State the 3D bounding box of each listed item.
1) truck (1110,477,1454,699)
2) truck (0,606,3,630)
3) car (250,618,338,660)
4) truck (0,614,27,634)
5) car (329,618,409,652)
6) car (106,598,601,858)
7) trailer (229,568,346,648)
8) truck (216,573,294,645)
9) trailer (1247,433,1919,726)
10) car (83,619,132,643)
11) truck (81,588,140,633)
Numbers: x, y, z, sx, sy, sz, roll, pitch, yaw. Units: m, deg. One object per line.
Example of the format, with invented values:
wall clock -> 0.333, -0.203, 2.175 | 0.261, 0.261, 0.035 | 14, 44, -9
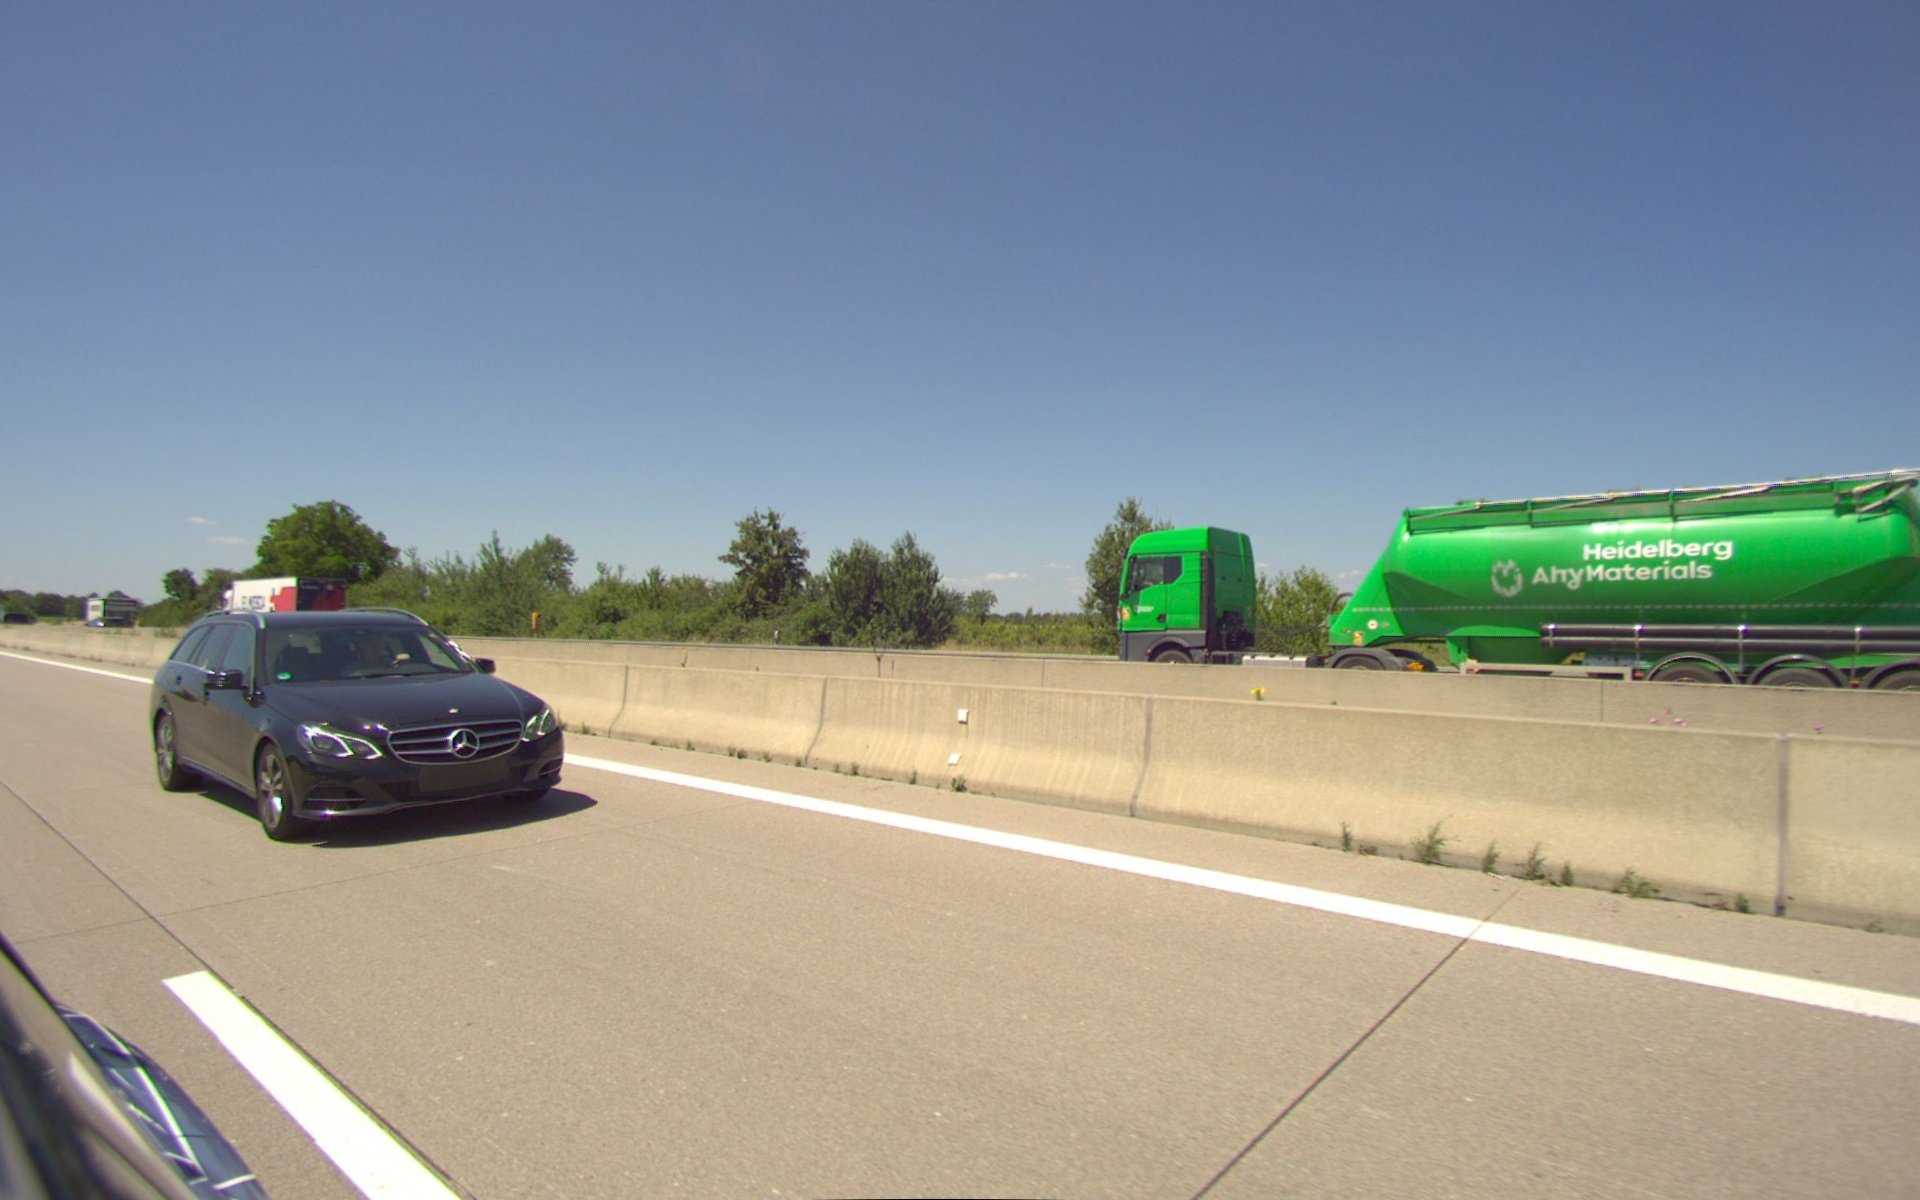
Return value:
truck -> 6.457, -0.150, 20.890 | 6.201, 3.912, 2.715 | -1, -2, 41
truck -> -162.311, 3.038, 168.530 | 7.516, 4.030, 3.524 | -1, 0, 41
car -> -24.078, 1.379, 36.524 | 3.806, 1.411, 1.698 | -1, -2, 41
truck -> -84.687, 2.146, 90.169 | 3.948, 1.774, 1.843 | -1, -2, 41
car -> -25.393, 1.475, 43.427 | 4.544, 1.411, 1.607 | -1, -2, 41
car -> -5.271, 0.782, 8.346 | 5.600, 1.484, 1.871 | -1, -2, 41
trailer -> -42.169, 0.571, 63.160 | 13.228, 4.572, 2.773 | -1, -2, 41
truck -> -47.035, 0.627, 67.463 | 6.659, 4.572, 2.773 | -1, -2, 41
trailer -> 10.675, -0.198, 17.154 | 11.100, 3.907, 2.706 | -1, -2, 41
car -> -51.259, 1.841, 60.836 | 3.806, 1.411, 1.722 | -1, -2, 41
truck -> -83.831, 1.063, 99.820 | 8.124, 4.206, 3.198 | -1, -2, 41
